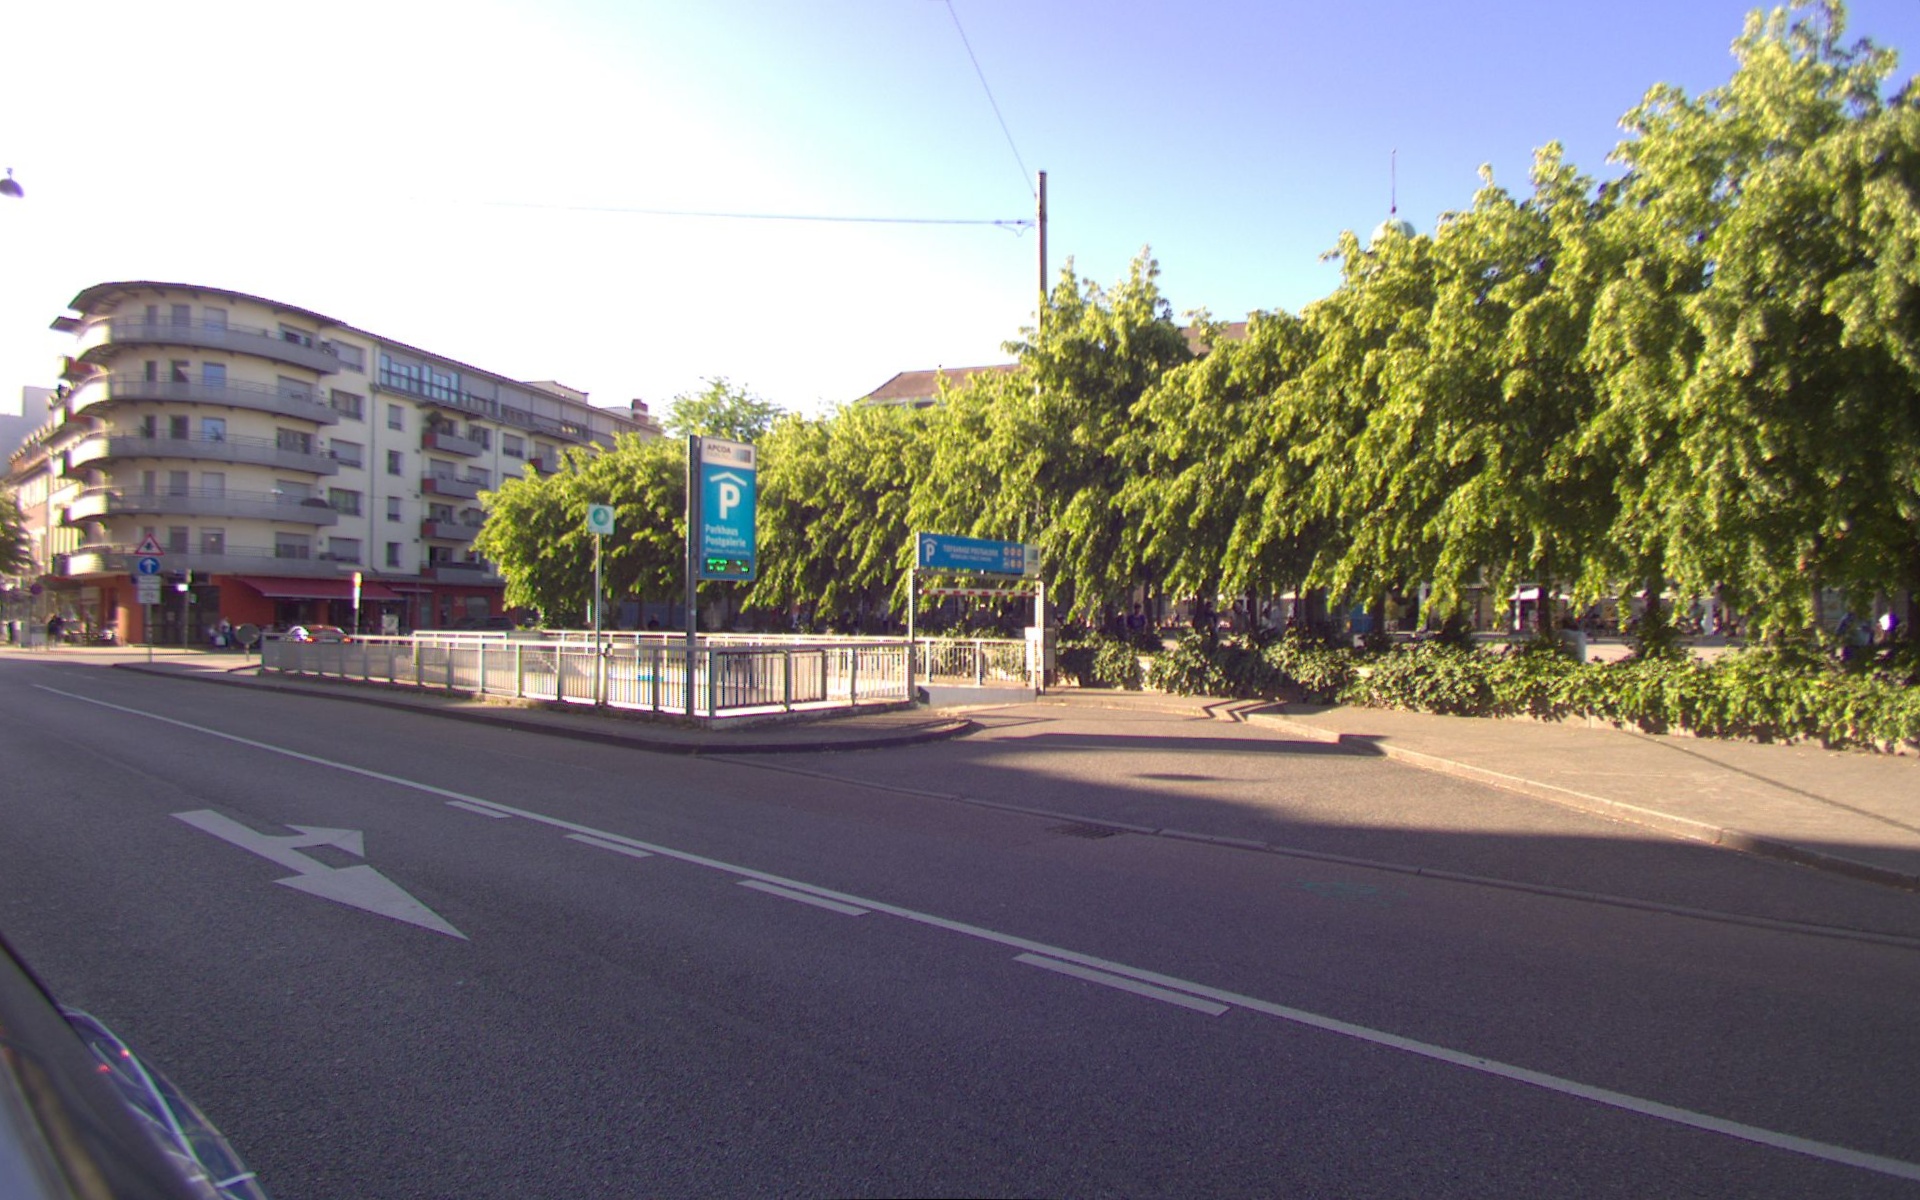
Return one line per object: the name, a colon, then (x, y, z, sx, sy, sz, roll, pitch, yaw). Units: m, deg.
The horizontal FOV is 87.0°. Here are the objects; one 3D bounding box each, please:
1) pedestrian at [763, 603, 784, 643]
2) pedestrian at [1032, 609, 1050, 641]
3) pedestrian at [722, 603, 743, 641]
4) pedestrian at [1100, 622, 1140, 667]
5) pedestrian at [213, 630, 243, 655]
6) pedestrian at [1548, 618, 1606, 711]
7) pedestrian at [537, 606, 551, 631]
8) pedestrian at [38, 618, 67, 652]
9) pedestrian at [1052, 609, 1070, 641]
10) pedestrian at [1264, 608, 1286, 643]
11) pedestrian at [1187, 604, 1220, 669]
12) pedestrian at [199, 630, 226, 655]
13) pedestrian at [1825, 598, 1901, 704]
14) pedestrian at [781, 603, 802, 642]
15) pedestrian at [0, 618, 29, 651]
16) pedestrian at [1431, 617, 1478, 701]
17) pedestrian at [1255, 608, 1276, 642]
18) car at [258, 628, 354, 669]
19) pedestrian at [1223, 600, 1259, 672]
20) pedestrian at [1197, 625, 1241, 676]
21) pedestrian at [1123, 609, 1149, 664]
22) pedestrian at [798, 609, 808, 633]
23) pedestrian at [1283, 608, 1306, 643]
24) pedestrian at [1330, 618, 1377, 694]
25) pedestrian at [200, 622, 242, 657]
pedestrian: (-9.026, 1.101, 48.914, 0.681, 1.877, 0.741, -1, 0, 27)
pedestrian: (3.580, 1.117, 44.867, 0.752, 1.385, 0.684, -1, 0, 1)
pedestrian: (-11.325, 1.091, 50.403, 0.679, 1.857, 0.743, -1, 0, 19)
pedestrian: (3.944, 1.091, 25.000, 0.682, 1.079, 0.686, -1, 0, -29)
pedestrian: (-36.816, 2.126, 50.910, 0.827, 1.207, 0.931, -1, 0, 16)
pedestrian: (9.809, 1.011, 16.103, 0.611, 1.447, 0.588, -1, 0, 14)
pedestrian: (-31.270, 1.399, 76.034, 0.684, 1.857, 0.737, -1, 0, 41)
pedestrian: (-47.674, 1.821, 53.178, 0.962, 1.762, 1.047, -1, 0, 41)
pedestrian: (4.475, 1.105, 44.830, 0.684, 1.385, 0.684, -1, 0, 1)
pedestrian: (14.201, 1.137, 45.639, 0.672, 1.542, 0.696, -1, 0, -18)
pedestrian: (5.742, 0.852, 23.863, 0.688, 1.511, 0.680, -1, 0, 19)
pedestrian: (-37.637, 2.137, 50.954, 0.882, 1.207, 0.772, -1, 0, 30)
pedestrian: (13.456, 0.741, 15.105, 0.691, 1.532, 0.677, -1, 0, 30)
pedestrian: (-8.269, 1.101, 49.646, 0.681, 1.857, 0.741, -1, 0, 27)
pedestrian: (-50.679, 1.815, 54.181, 1.079, 1.732, 1.056, -1, 0, 38)
pedestrian: (8.753, 1.025, 17.911, 0.621, 1.447, 0.645, -1, 0, 39)
pedestrian: (14.012, 1.139, 46.441, 0.673, 1.535, 0.695, -1, 0, -7)
car: (-26.032, 1.943, 40.252, 4.238, 1.542, 1.657, -2, -4, 34)
pedestrian: (6.396, 0.802, 23.019, 0.518, 1.594, 0.686, -1, 0, -11)
pedestrian: (5.707, 1.099, 22.314, 0.682, 1.079, 0.686, -1, 0, -13)
pedestrian: (4.512, 0.930, 25.870, 0.545, 1.385, 0.680, -1, 0, 19)
pedestrian: (-10.658, 1.425, 68.664, 0.489, 1.591, 0.491, -1, 0, 16)
pedestrian: (14.862, 1.128, 45.002, 0.672, 1.536, 0.696, -1, 0, -19)
pedestrian: (7.526, 1.060, 19.358, 0.622, 1.409, 0.644, -1, 0, 44)
pedestrian: (-36.413, 1.939, 49.868, 1.253, 1.678, 1.141, -1, 0, -7)
